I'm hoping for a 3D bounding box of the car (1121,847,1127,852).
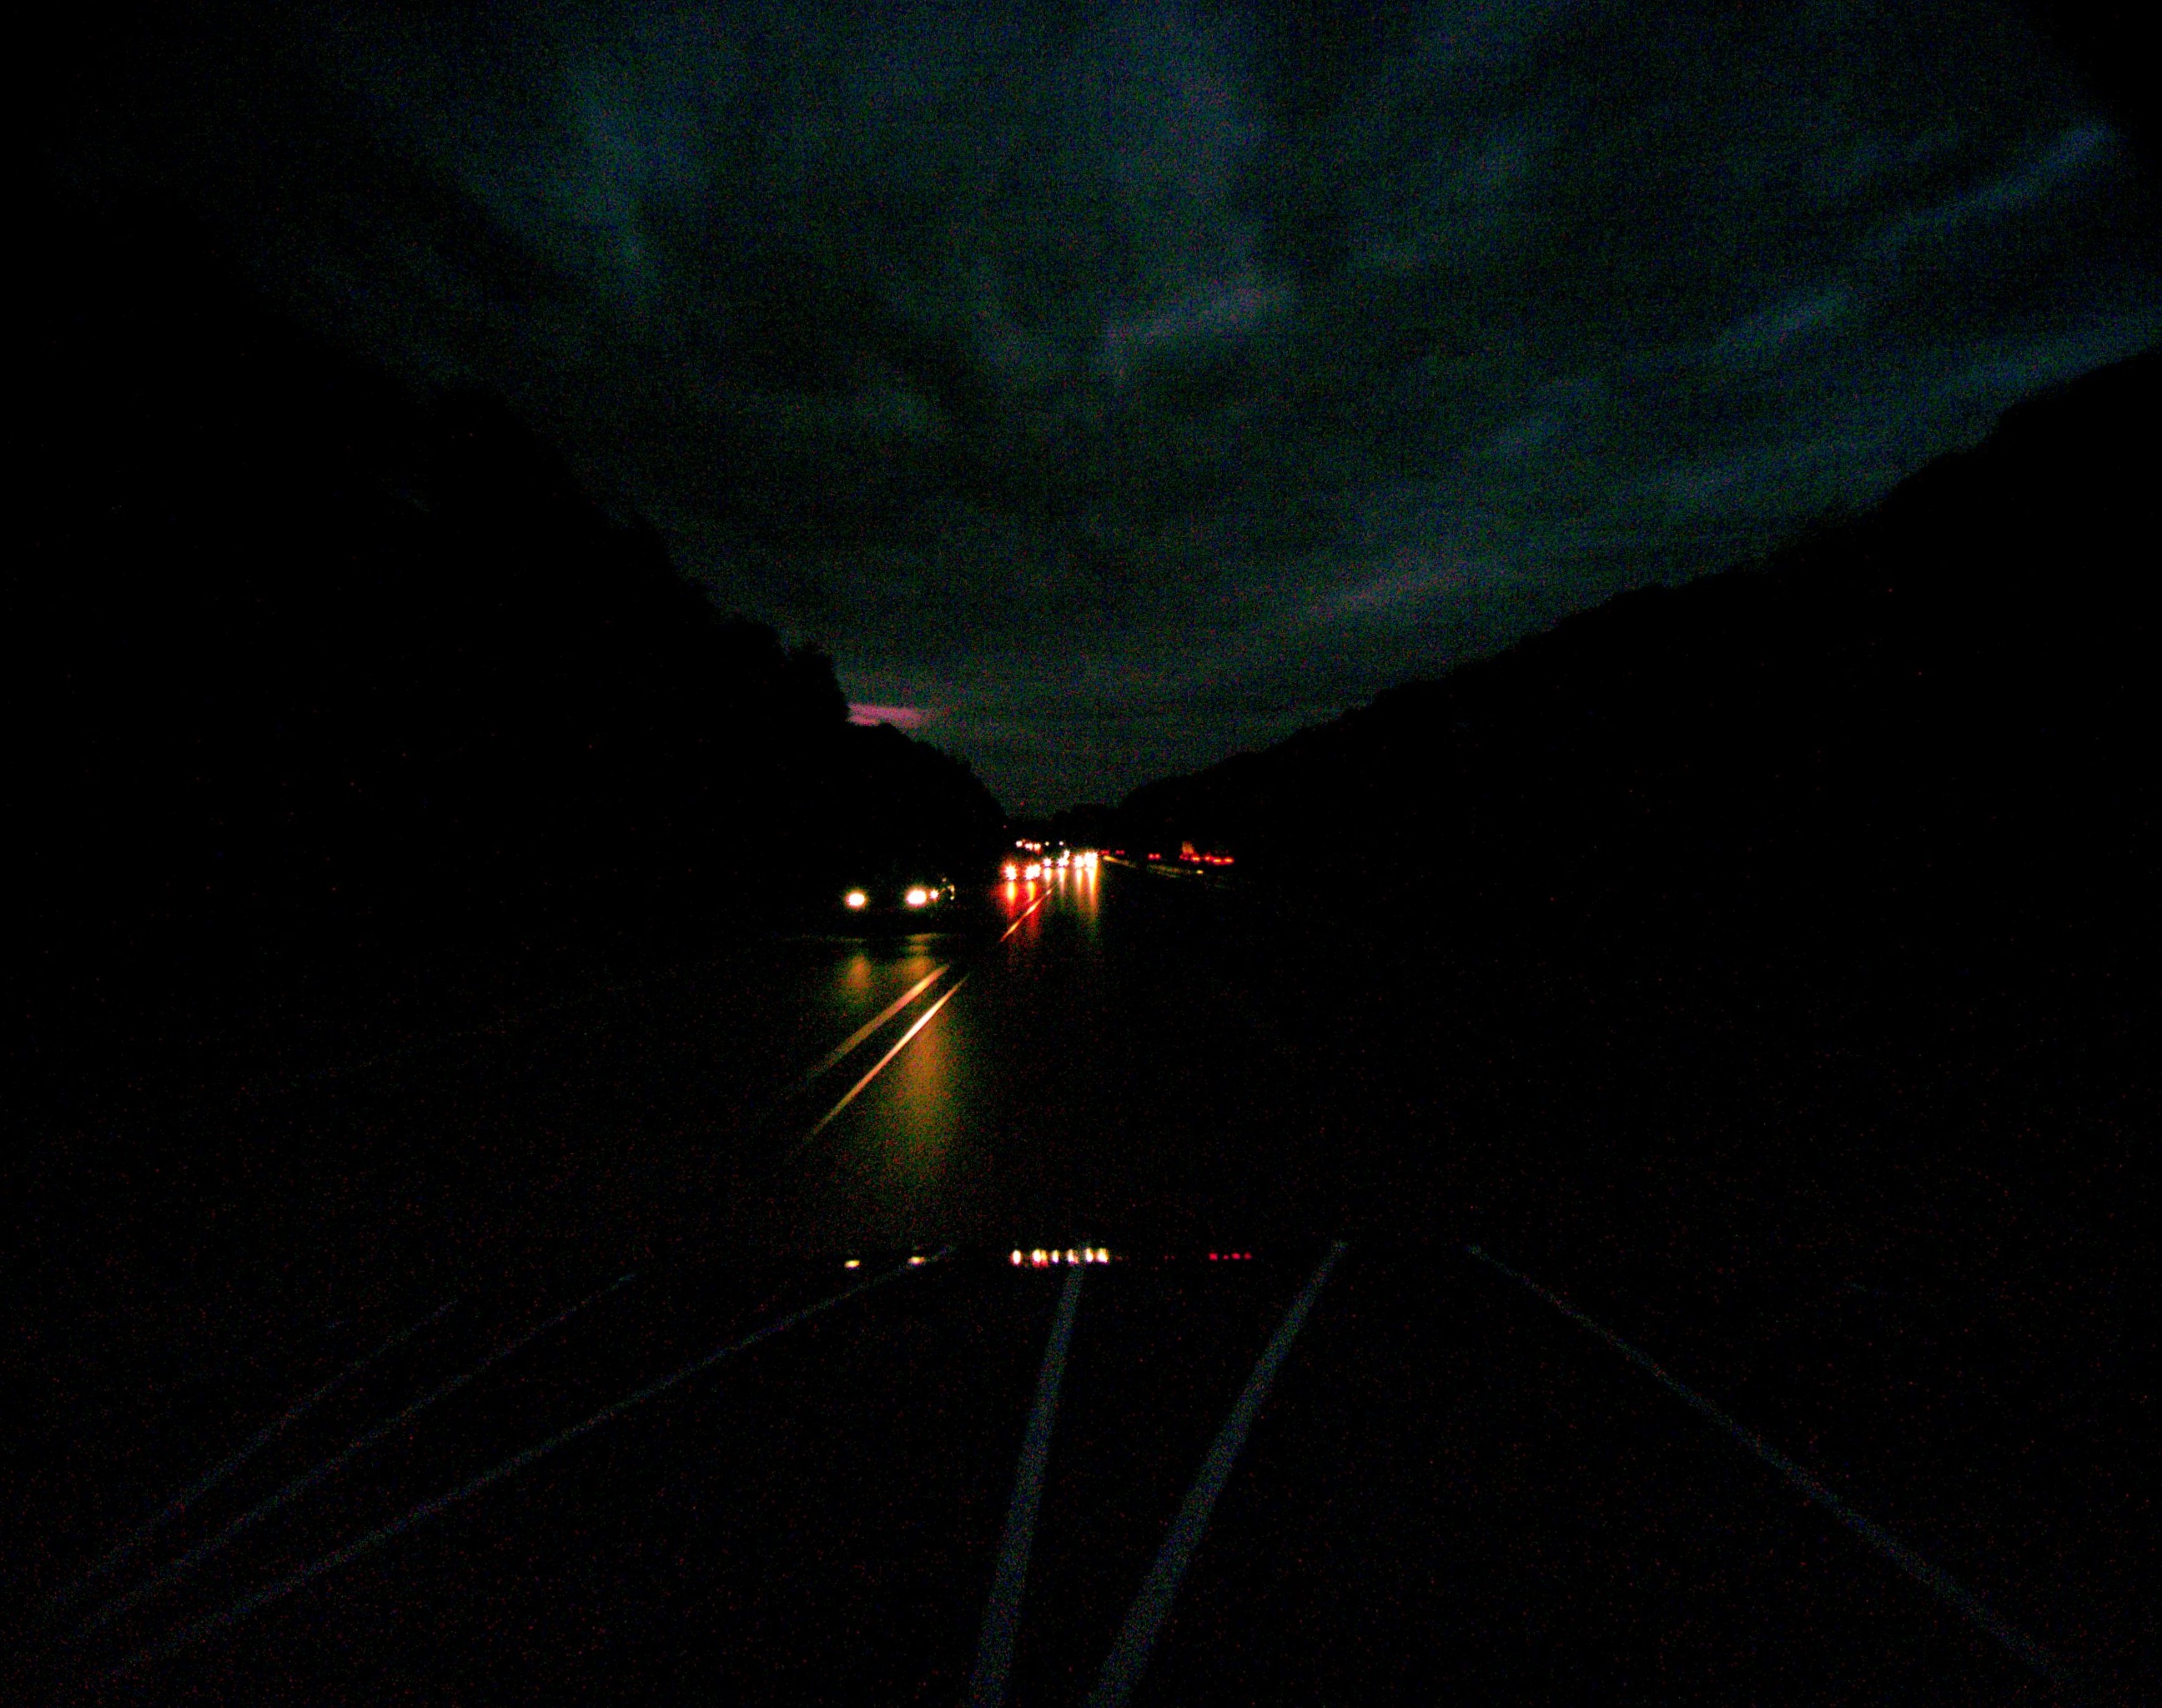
[{"bbox_3d":[13.415,-1.288,238.439,1.690,1.506,4.414,-1,1,0],"label":"car"}]

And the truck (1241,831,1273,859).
[{"bbox_3d":[26.767,-1.445,115.850,3.199,4.081,7.688,-2,1,2],"label":"truck"}]

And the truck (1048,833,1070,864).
[{"bbox_3d":[-2.972,-0.760,103.061,2.497,3.946,5.589,-2,2,2],"label":"truck"}]

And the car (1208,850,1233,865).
[{"bbox_3d":[15.089,0.316,82.409,1.885,1.565,4.654,-1,0,0],"label":"car"}]

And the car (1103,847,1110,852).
[{"bbox_3d":[8.473,-1.549,251.860,1.855,1.373,4.644,-1,0,-1],"label":"car"}]

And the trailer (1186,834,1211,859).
[{"bbox_3d":[19.103,-1.181,124.330,2.653,3.908,10.184,-1,1,1],"label":"trailer"}]

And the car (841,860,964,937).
[{"bbox_3d":[-4.114,0.959,18.313,1.870,1.427,4.582,-2,1,-1],"label":"car"}]

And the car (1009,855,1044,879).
[{"bbox_3d":[-3.566,0.816,50.714,1.695,1.481,4.950,-3,0,3],"label":"car"}]

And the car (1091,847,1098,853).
[{"bbox_3d":[3.301,-1.035,189.153,1.695,1.481,4.948,-1,1,1],"label":"car"}]

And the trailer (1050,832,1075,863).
[{"bbox_3d":[-2.601,-1.035,110.281,2.488,4.050,13.503,-2,2,3],"label":"trailer"}]

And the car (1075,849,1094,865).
[{"bbox_3d":[0.443,0.320,87.097,1.869,1.701,4.584,-2,1,4],"label":"car"}]

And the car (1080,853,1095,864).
[{"bbox_3d":[1.077,0.713,133.480,1.924,1.706,4.938,-3,2,-7],"label":"car"}]

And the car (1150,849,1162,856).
[{"bbox_3d":[15.331,-0.270,155.621,1.915,1.443,5.354,-1,1,1],"label":"car"}]

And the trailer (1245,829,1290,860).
[{"bbox_3d":[26.658,-1.406,109.323,3.199,4.081,14.181,-2,1,2],"label":"trailer"}]

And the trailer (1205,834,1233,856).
[{"bbox_3d":[26.961,-1.807,148.893,3.199,4.081,13.737,-2,1,1],"label":"trailer"}]

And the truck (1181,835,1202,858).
[{"bbox_3d":[19.277,-1.287,132.952,2.653,3.949,7.121,-1,1,1],"label":"truck"}]
